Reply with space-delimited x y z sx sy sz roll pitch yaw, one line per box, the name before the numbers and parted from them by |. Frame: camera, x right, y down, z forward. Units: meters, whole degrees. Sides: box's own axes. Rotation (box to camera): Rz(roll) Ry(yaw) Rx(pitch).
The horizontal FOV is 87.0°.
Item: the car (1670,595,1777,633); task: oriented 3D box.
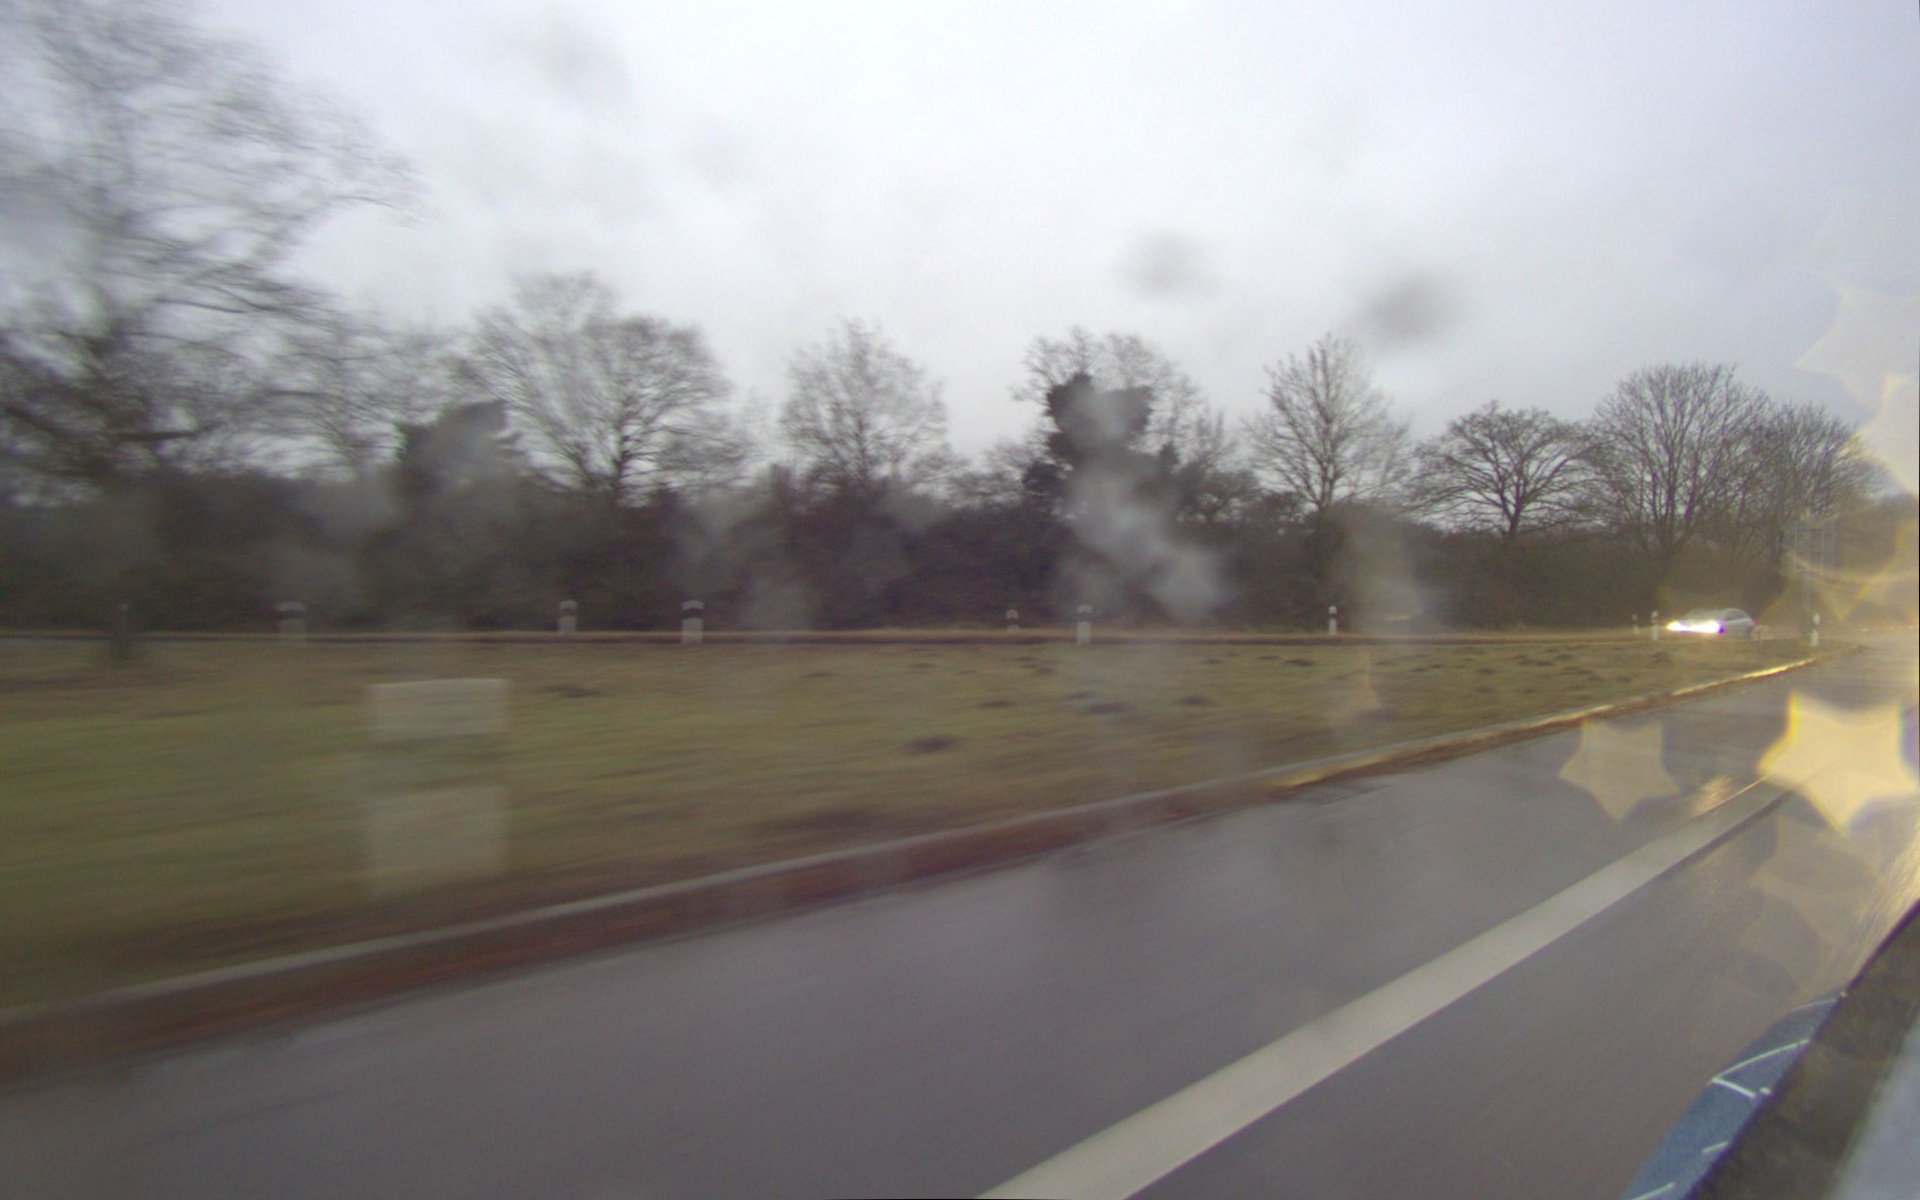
car | 31.230 0.556 41.422 3.711 1.452 1.733 0 1 -20
